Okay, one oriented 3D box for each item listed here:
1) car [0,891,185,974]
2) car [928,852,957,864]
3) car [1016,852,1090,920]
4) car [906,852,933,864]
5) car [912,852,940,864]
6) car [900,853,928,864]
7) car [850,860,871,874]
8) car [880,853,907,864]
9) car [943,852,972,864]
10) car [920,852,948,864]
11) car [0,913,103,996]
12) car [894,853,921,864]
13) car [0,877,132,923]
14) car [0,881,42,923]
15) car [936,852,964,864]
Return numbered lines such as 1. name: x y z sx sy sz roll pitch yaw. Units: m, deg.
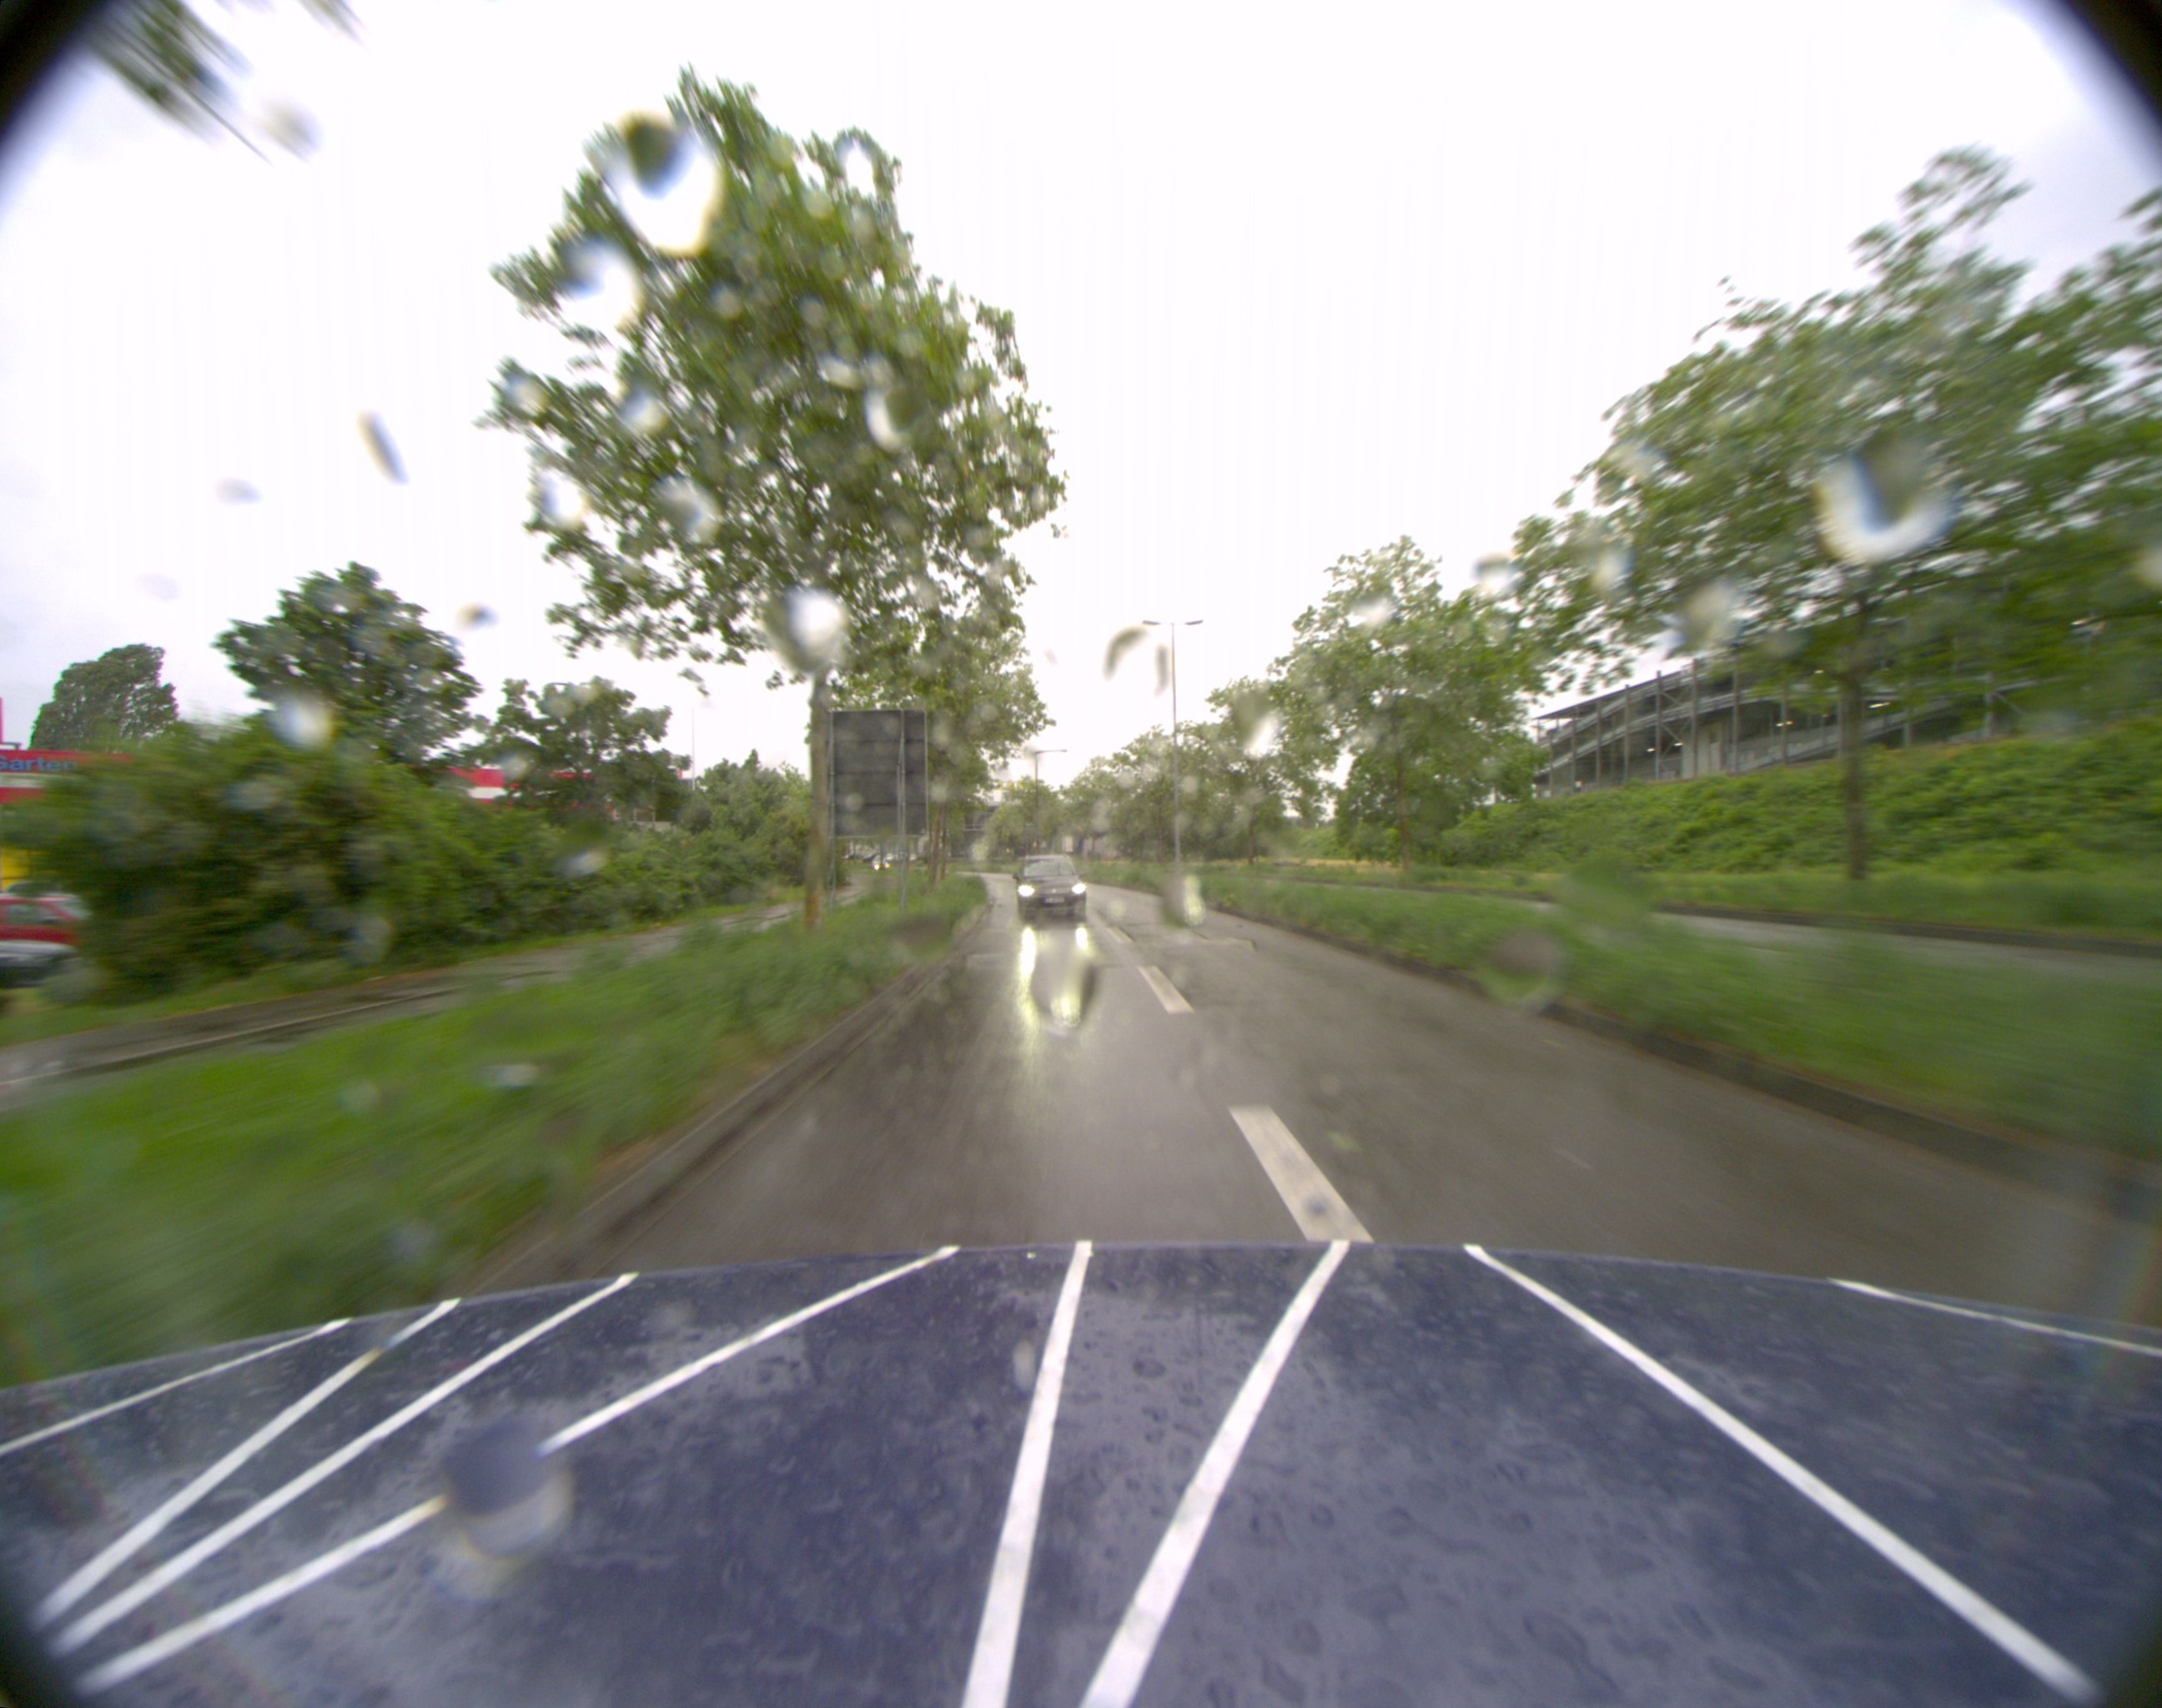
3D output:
1. car: -24.005 1.800 17.289 4.302 1.664 1.750 -2 1 -33
2. car: -21.777 0.617 119.653 1.860 1.650 4.007 -1 2 42
3. car: -0.899 0.815 21.694 1.789 1.605 4.714 -3 1 -5
4. car: -26.450 0.676 124.627 1.860 1.650 4.007 -1 2 42
5. car: -25.054 0.657 122.810 1.860 1.650 4.007 -1 2 42
6. car: -27.769 0.692 126.378 1.860 1.650 4.007 -1 2 42
7. car: -28.880 1.695 99.364 2.002 1.641 3.992 -2 1 -25
8. car: -32.357 0.781 131.106 1.860 1.650 4.007 -1 2 42
9. car: -18.949 0.558 116.912 1.860 1.650 4.007 -1 2 42
10. car: -23.408 0.655 121.035 1.860 1.650 4.007 -1 2 42
11. car: -21.350 1.937 13.636 4.303 1.363 1.750 -2 1 -36
12. car: -29.209 0.714 128.140 1.860 1.650 4.007 -1 2 42
13. car: -41.432 1.808 31.085 1.757 1.624 3.838 -2 0 -27
14. car: -43.814 1.946 29.960 1.757 1.624 3.838 -2 0 -27
15. car: -20.371 0.588 118.282 1.860 1.650 4.007 -1 2 42
